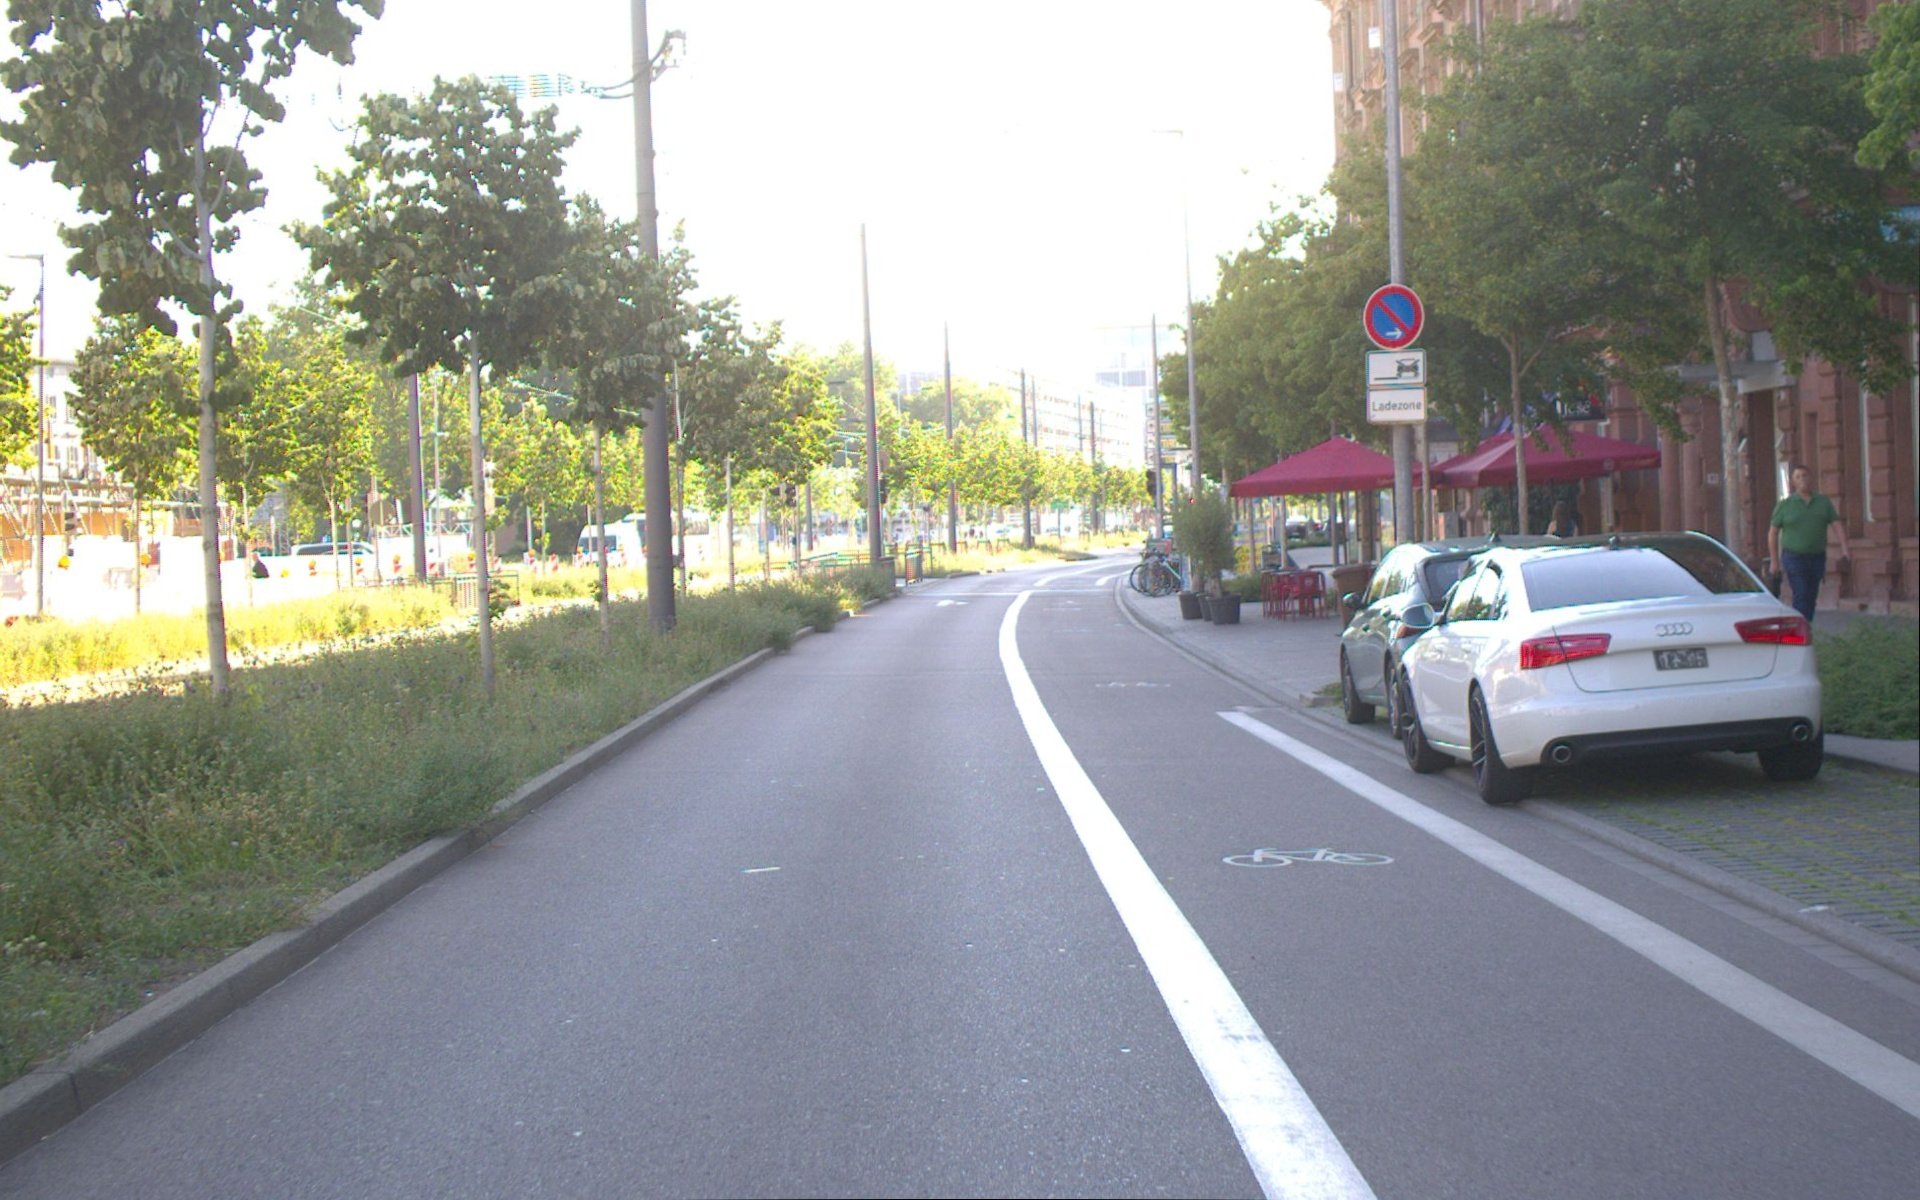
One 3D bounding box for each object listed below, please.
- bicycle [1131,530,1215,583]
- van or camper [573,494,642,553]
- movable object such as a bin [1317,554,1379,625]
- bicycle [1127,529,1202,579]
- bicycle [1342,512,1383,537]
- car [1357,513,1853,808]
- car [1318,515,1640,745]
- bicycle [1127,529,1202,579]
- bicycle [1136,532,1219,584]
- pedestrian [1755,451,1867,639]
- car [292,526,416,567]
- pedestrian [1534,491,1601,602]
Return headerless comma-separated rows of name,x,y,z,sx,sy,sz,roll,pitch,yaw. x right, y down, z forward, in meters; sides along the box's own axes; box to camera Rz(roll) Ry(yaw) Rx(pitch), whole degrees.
bicycle,4.952,-1.015,79.981,1.845,1.100,0.566,-4,1,7
van or camper,-16.201,-3.556,158.402,2.221,2.501,7.201,-4,2,0
movable object such as a bin,5.351,-0.150,47.399,0.676,0.921,0.560,-4,0,21
bicycle,5.028,-1.127,84.426,1.754,1.100,0.507,-4,1,7
bicycle,19.162,-3.606,163.658,1.899,1.089,0.392,-3,1,3
car,3.709,0.258,20.776,1.848,1.449,5.253,-4,1,-1
car,3.994,0.164,27.109,1.849,1.559,4.297,-3,1,1
bicycle,5.061,-1.133,85.016,1.754,1.100,0.507,-4,1,7
bicycle,4.975,-0.963,78.537,1.805,1.044,0.566,-4,1,7
pedestrian,8.213,-0.532,33.230,0.747,1.748,1.072,-3,1,1
car,-28.079,-2.483,159.350,5.228,1.711,2.124,-1,1,7
pedestrian,8.661,-0.771,49.058,0.728,1.528,0.797,-4,1,0
